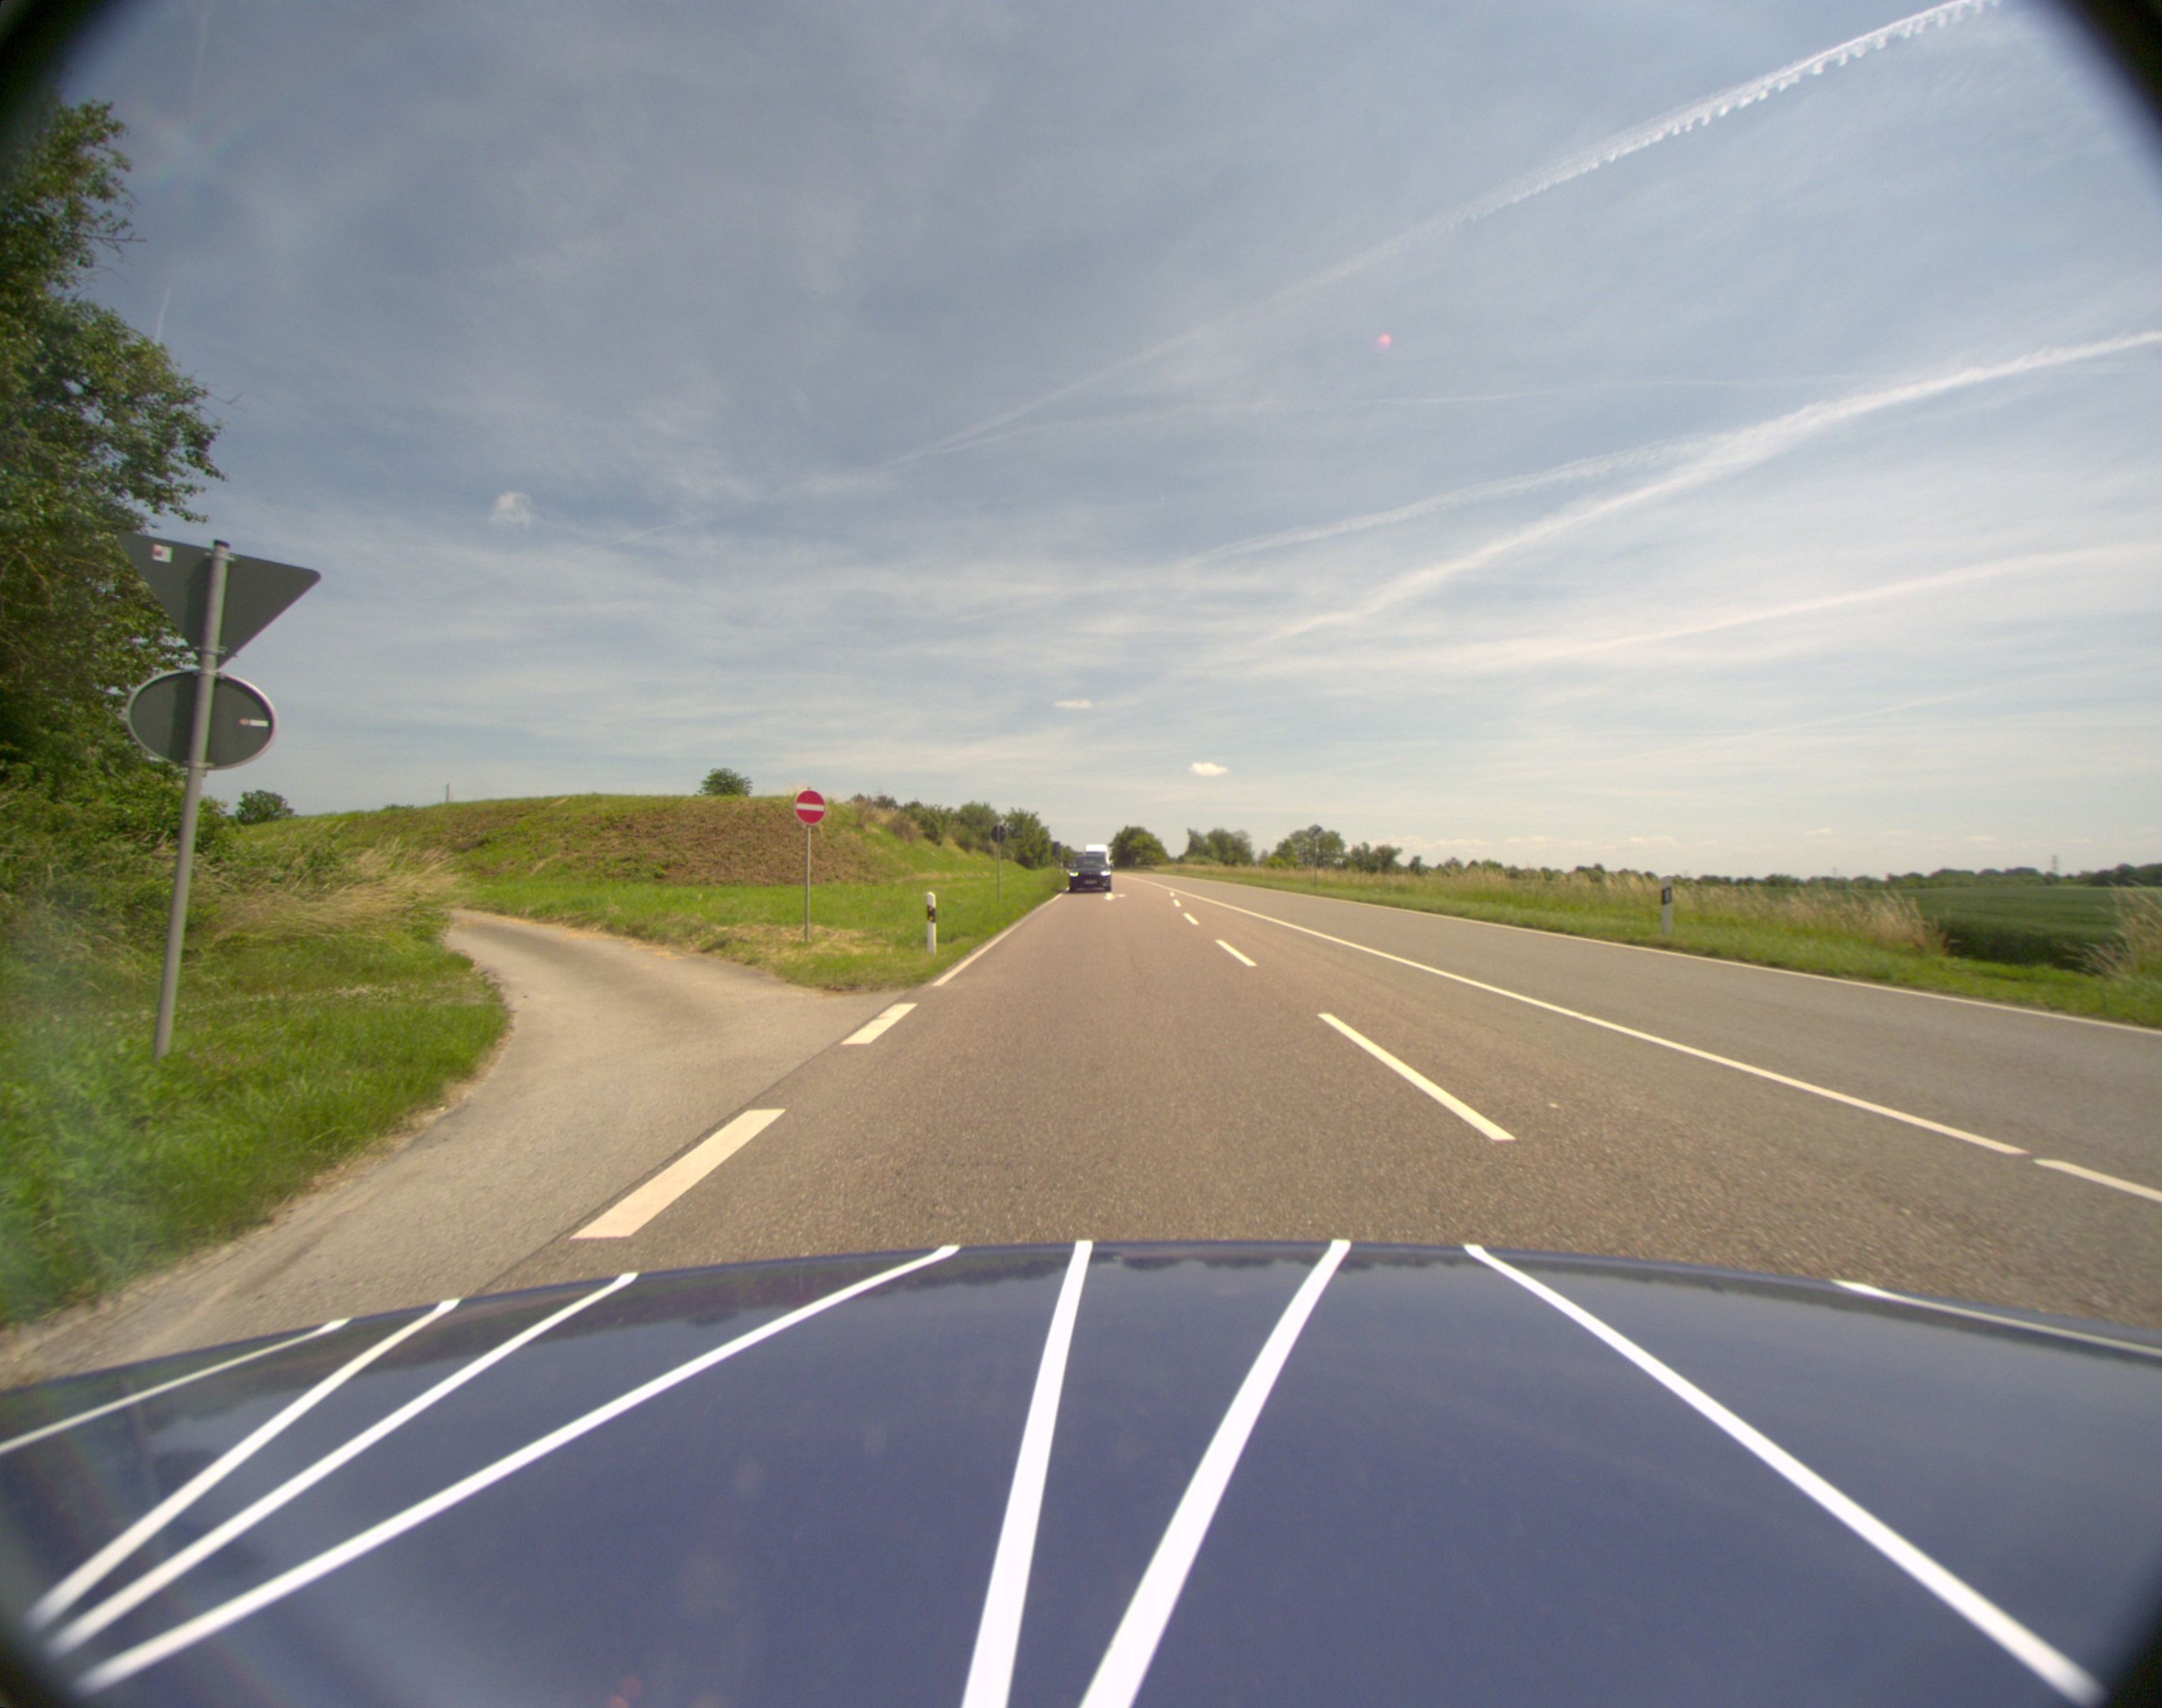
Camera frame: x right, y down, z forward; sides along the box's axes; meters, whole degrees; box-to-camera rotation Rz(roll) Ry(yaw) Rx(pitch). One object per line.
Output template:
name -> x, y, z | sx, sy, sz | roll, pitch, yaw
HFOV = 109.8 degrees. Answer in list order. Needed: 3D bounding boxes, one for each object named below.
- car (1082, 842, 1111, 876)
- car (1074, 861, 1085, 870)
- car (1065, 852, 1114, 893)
car -> 1.212, 0.386, 61.426 | 2.226, 2.617, 5.752 | 1, 0, 0
car -> -0.334, 2.177, 146.842 | 2.039, 1.641, 4.742 | 0, 1, -3
car -> 0.401, 0.777, 35.111 | 2.039, 1.691, 5.513 | -2, 0, 1
